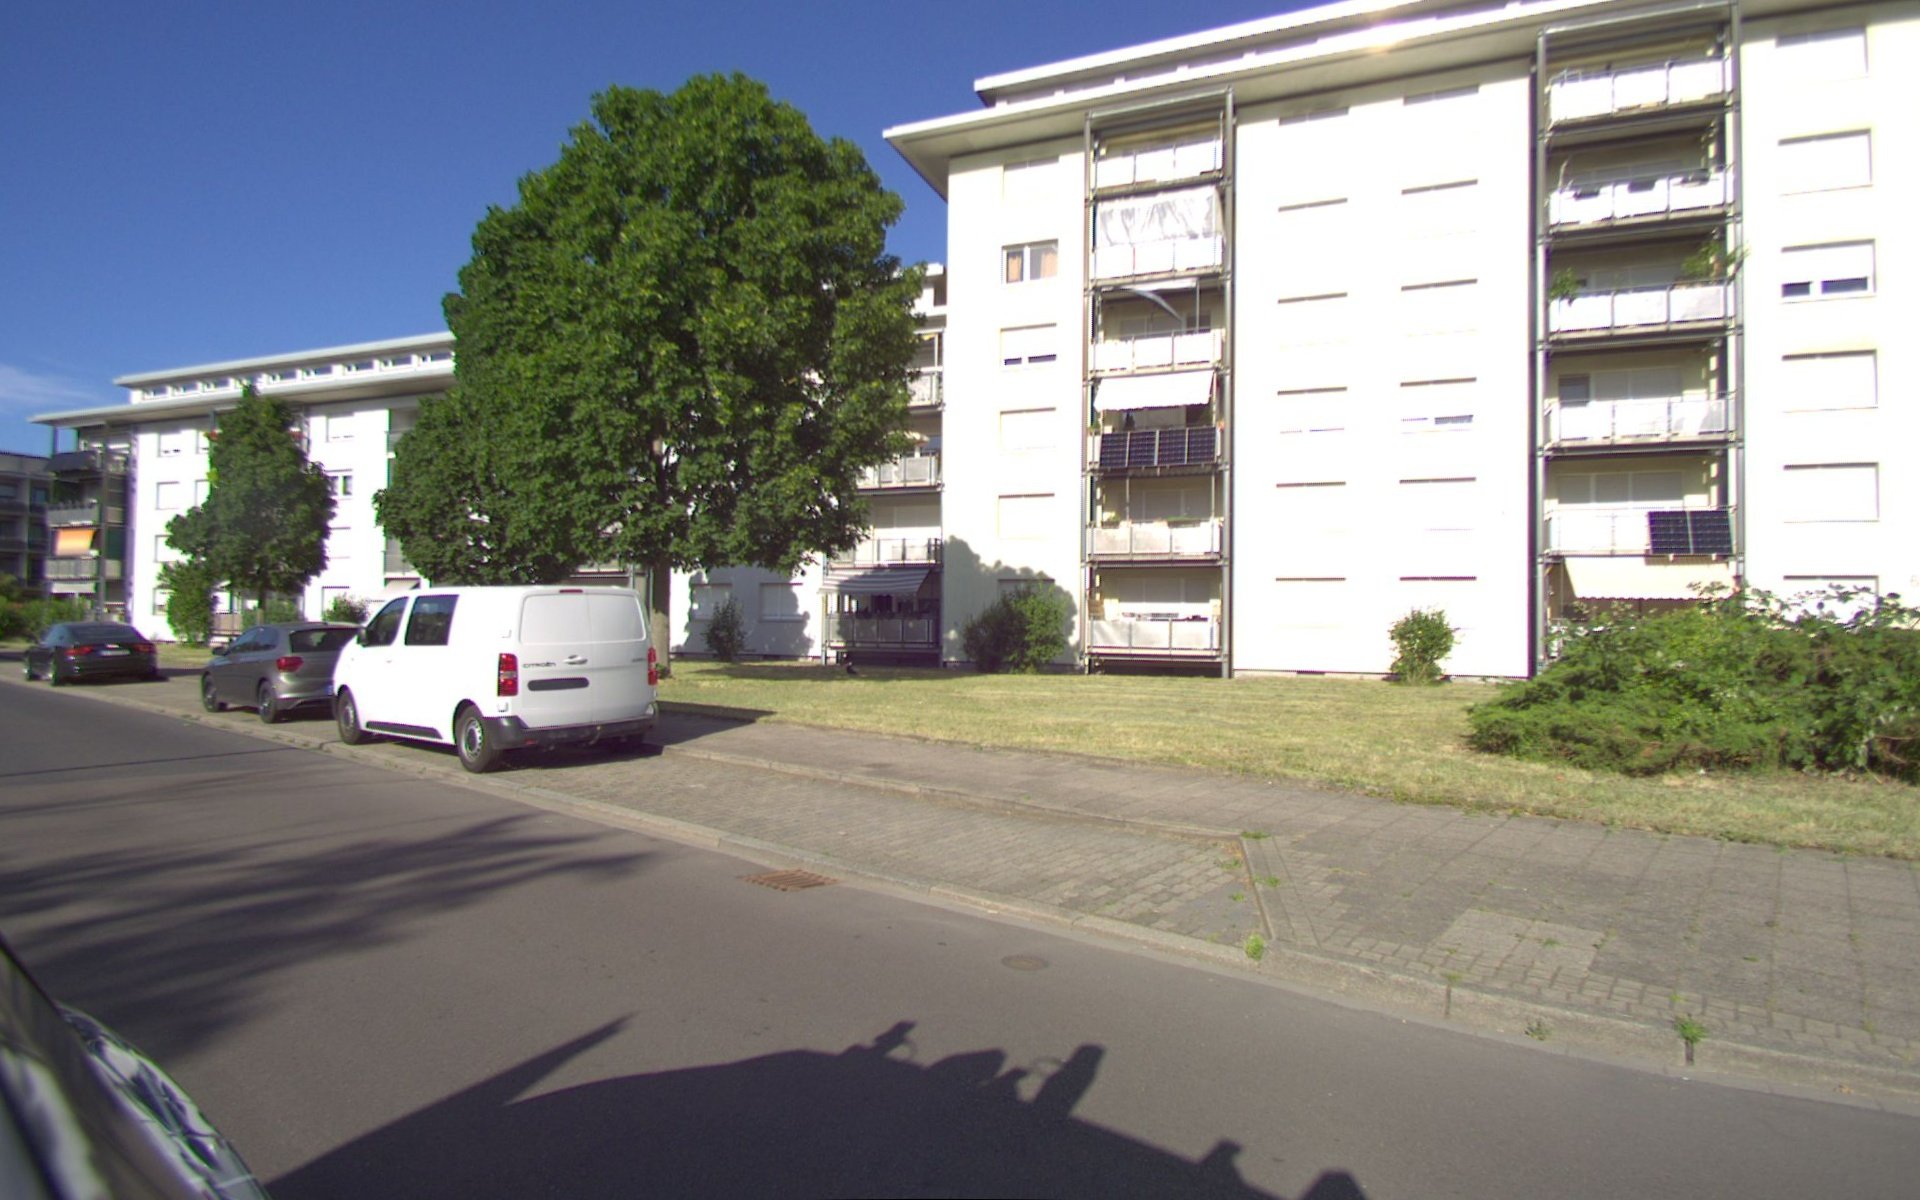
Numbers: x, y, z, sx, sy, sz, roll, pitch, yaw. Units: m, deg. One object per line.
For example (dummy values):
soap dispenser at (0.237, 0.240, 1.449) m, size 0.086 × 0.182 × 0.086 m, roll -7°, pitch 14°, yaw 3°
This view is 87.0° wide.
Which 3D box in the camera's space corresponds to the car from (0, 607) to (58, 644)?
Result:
car at (-65.415, 1.722, 68.654) m, size 2.206 × 2.447 × 5.858 m, roll -2°, pitch -4°, yaw 32°

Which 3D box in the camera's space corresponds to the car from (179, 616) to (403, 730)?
car at (-10.643, 1.040, 15.999) m, size 4.217 × 1.529 × 1.815 m, roll 0°, pitch 0°, yaw 40°

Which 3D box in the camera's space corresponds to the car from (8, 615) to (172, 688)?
car at (-20.673, 1.141, 23.965) m, size 5.249 × 1.504 × 2.015 m, roll -1°, pitch 0°, yaw 39°

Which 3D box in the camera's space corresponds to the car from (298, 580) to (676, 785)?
car at (-5.684, 0.781, 11.814) m, size 5.186 × 1.900 × 1.994 m, roll 0°, pitch -1°, yaw 40°
